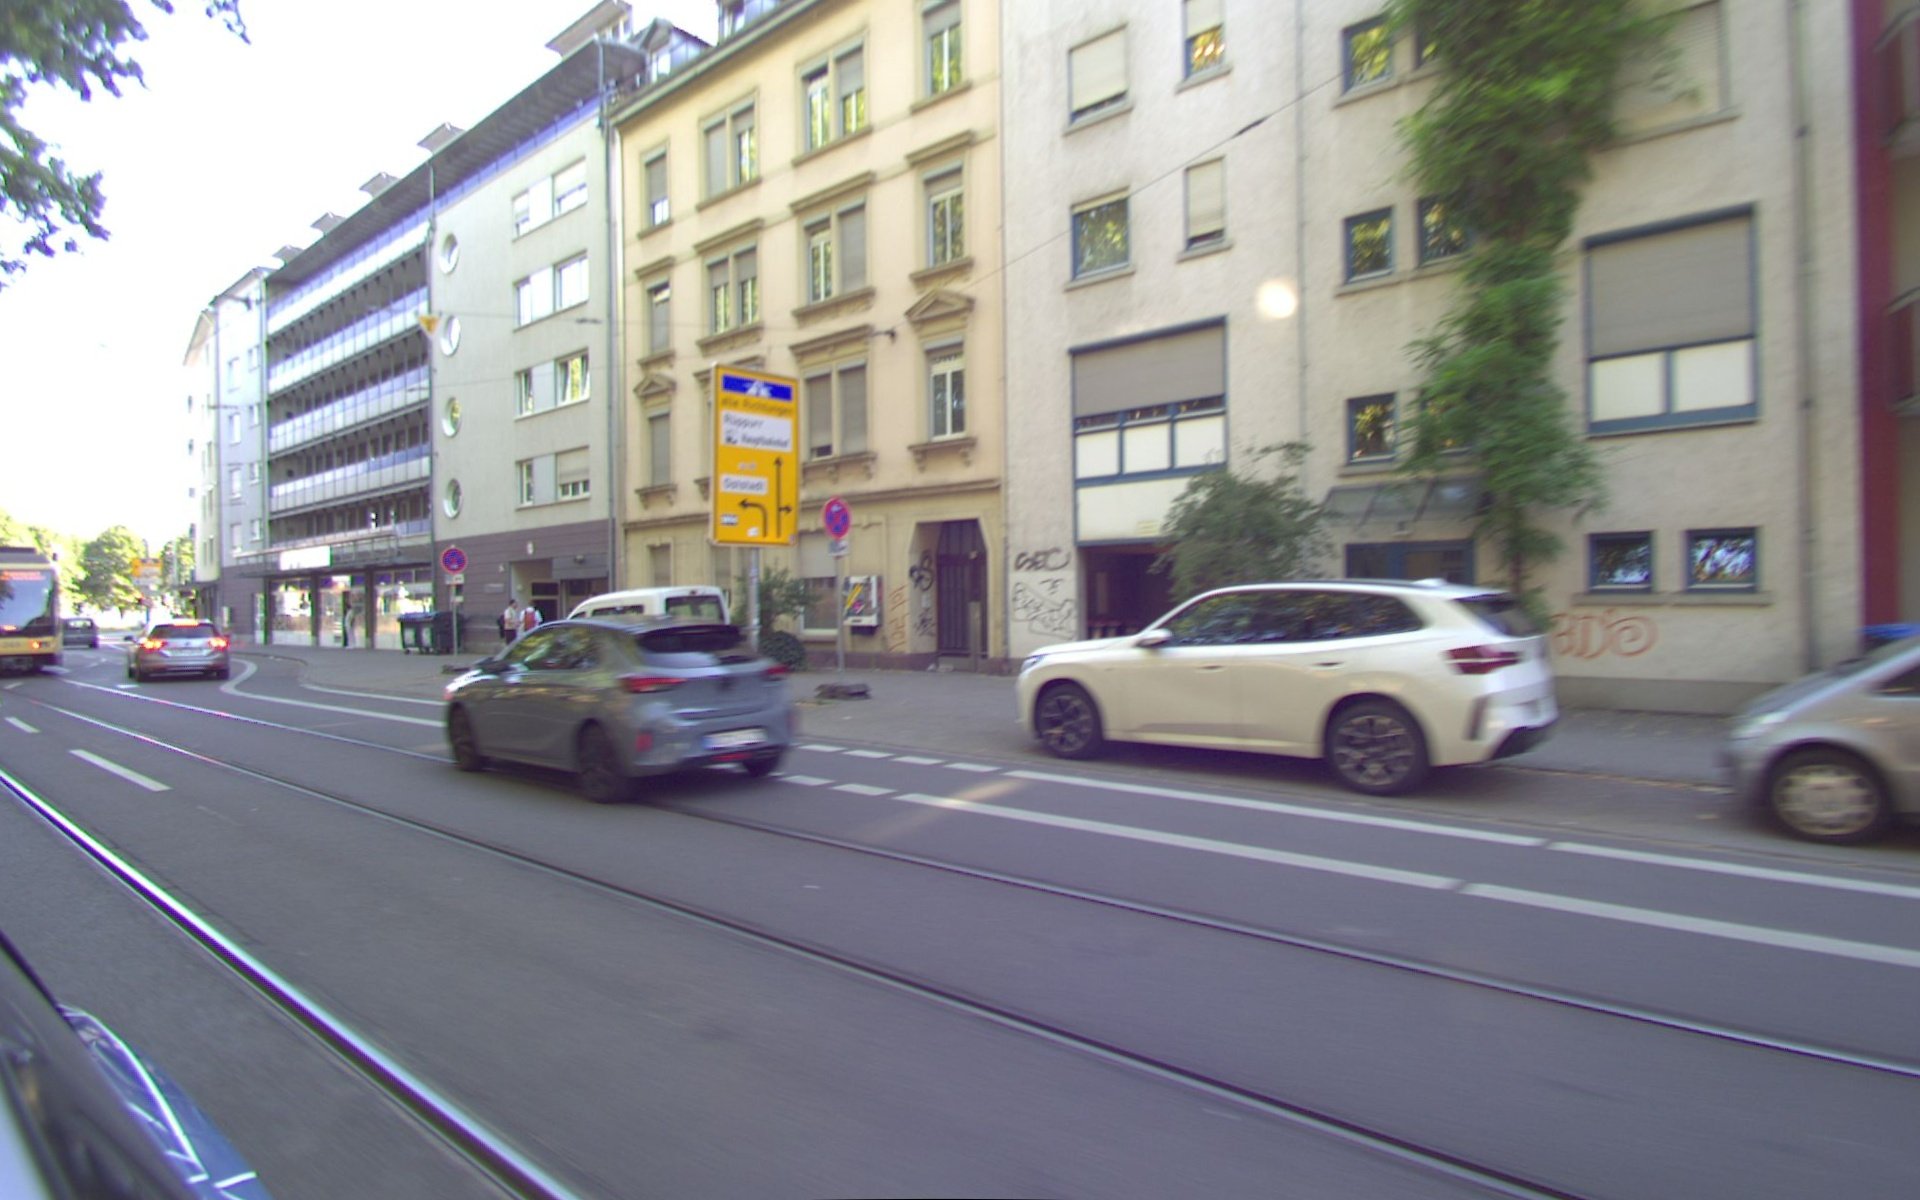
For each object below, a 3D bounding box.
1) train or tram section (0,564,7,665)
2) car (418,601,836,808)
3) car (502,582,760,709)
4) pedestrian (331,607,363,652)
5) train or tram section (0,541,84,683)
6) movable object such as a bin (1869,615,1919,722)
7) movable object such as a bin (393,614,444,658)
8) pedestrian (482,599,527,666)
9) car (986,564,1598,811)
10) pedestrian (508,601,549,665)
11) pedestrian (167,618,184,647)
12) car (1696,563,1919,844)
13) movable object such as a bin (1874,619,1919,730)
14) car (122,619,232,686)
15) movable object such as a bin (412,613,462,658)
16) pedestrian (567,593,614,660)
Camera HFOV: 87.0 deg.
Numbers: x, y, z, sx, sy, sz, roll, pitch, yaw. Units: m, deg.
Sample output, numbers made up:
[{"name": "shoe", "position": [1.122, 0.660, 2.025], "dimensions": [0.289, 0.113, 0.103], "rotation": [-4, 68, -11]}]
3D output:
[{"name": "train or tram section", "position": [-39.466, 0.629, 38.802], "dimensions": [13.361, 3.512, 2.878], "rotation": [-1, -1, 41]}, {"name": "car", "position": [-3.139, 0.784, 9.121], "dimensions": [4.051, 1.457, 1.777], "rotation": [-1, -2, 41]}, {"name": "car", "position": [-5.454, 0.691, 16.528], "dimensions": [4.464, 1.784, 1.772], "rotation": [-2, 1, 38]}, {"name": "pedestrian", "position": [-24.411, 1.152, 40.286], "dimensions": [0.819, 1.726, 0.779], "rotation": [-1, 2, 40]}, {"name": "train or tram section", "position": [-29.015, 0.412, 29.782], "dimensions": [14.189, 3.512, 2.878], "rotation": [-1, -1, 41]}, {"name": "movable object such as a bin", "position": [9.685, 0.690, 10.386], "dimensions": [0.492, 1.063, 0.456], "rotation": [-2, -1, 41]}, {"name": "movable object such as a bin", "position": [-18.321, 1.203, 34.235], "dimensions": [1.212, 1.461, 1.129], "rotation": [-1, -1, 37]}, {"name": "pedestrian", "position": [-12.674, 0.887, 28.174], "dimensions": [0.735, 1.798, 0.856], "rotation": [-2, 1, 39]}, {"name": "car", "position": [2.758, 0.591, 9.146], "dimensions": [4.877, 1.661, 1.933], "rotation": [-1, 1, 40]}, {"name": "pedestrian", "position": [-11.649, 0.880, 27.307], "dimensions": [0.686, 1.645, 0.720], "rotation": [-2, 1, 39]}, {"name": "pedestrian", "position": [-47.167, 1.942, 60.838], "dimensions": [0.705, 1.686, 0.906], "rotation": [-1, -1, -34]}, {"name": "car", "position": [6.626, 0.563, 5.770], "dimensions": [3.780, 1.583, 1.609], "rotation": [-1, 1, 42]}, {"name": "movable object such as a bin", "position": [9.408, 0.725, 10.016], "dimensions": [0.492, 1.063, 0.456], "rotation": [-2, -1, 41]}, {"name": "car", "position": [-19.624, 1.223, 25.292], "dimensions": [1.774, 1.457, 4.722], "rotation": [0, 0, -43]}, {"name": "movable object such as a bin", "position": [-17.326, 1.166, 33.508], "dimensions": [1.209, 1.461, 1.047], "rotation": [-1, -1, 37]}, {"name": "pedestrian", "position": [-10.569, 0.740, 28.939], "dimensions": [0.729, 1.827, 0.953], "rotation": [-1, 1, 42]}]
